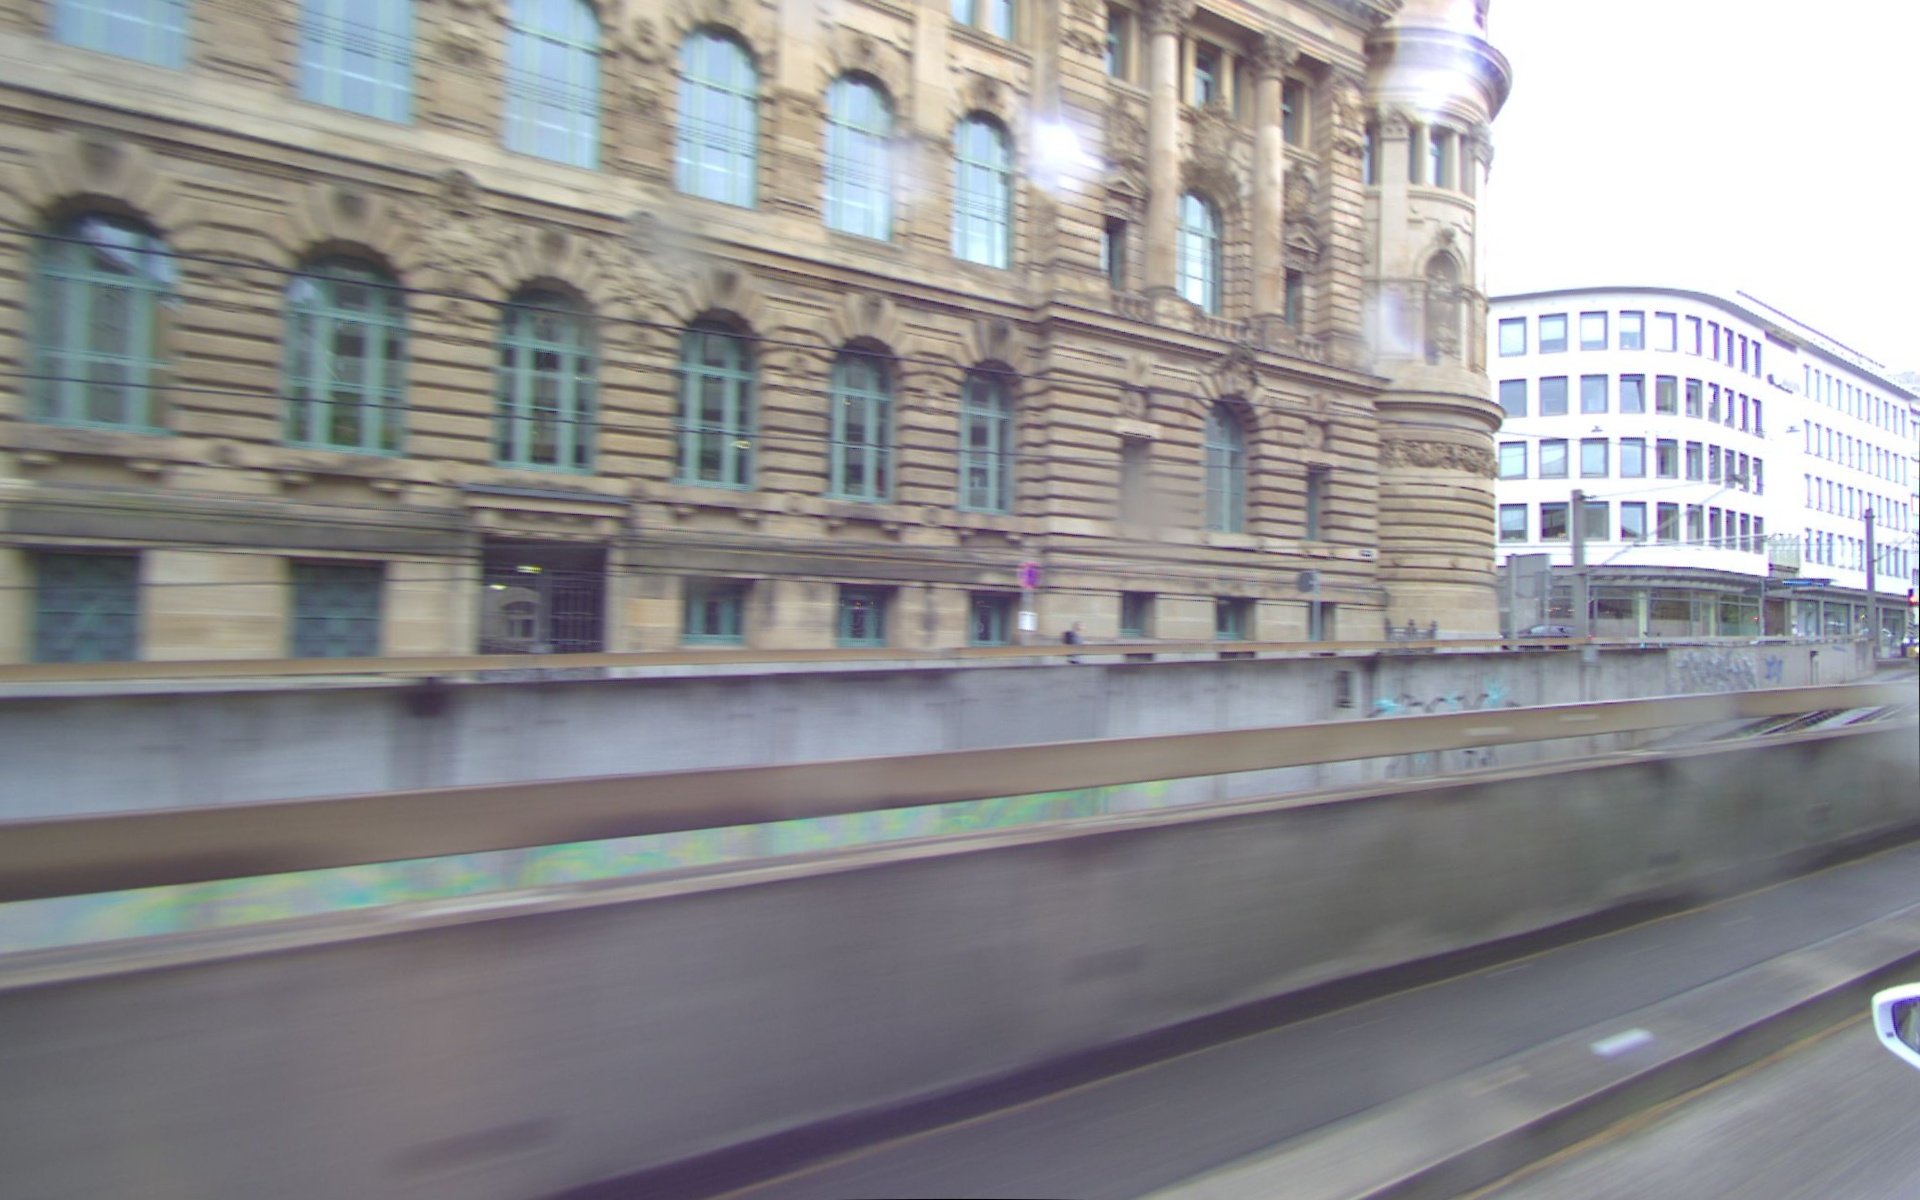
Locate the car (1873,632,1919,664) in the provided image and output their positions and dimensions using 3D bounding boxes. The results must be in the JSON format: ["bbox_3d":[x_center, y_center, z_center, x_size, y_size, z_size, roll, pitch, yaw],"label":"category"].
[{"bbox_3d":[60.486,3.041,64.348,4.878,1.908,1.980,1,-1,-35],"label":"car"}]

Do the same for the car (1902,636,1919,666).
[{"bbox_3d":[53.330,2.789,54.941,3.626,1.548,1.980,1,-1,-35],"label":"car"}]

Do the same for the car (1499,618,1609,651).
[{"bbox_3d":[31.045,1.836,52.635,4.687,1.541,1.676,-2,-4,20],"label":"car"}]

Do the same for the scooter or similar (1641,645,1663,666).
[{"bbox_3d":[36.134,2.889,52.456,0.539,1.058,0.820,1,-1,-19],"label":"scooter or similar"}]
